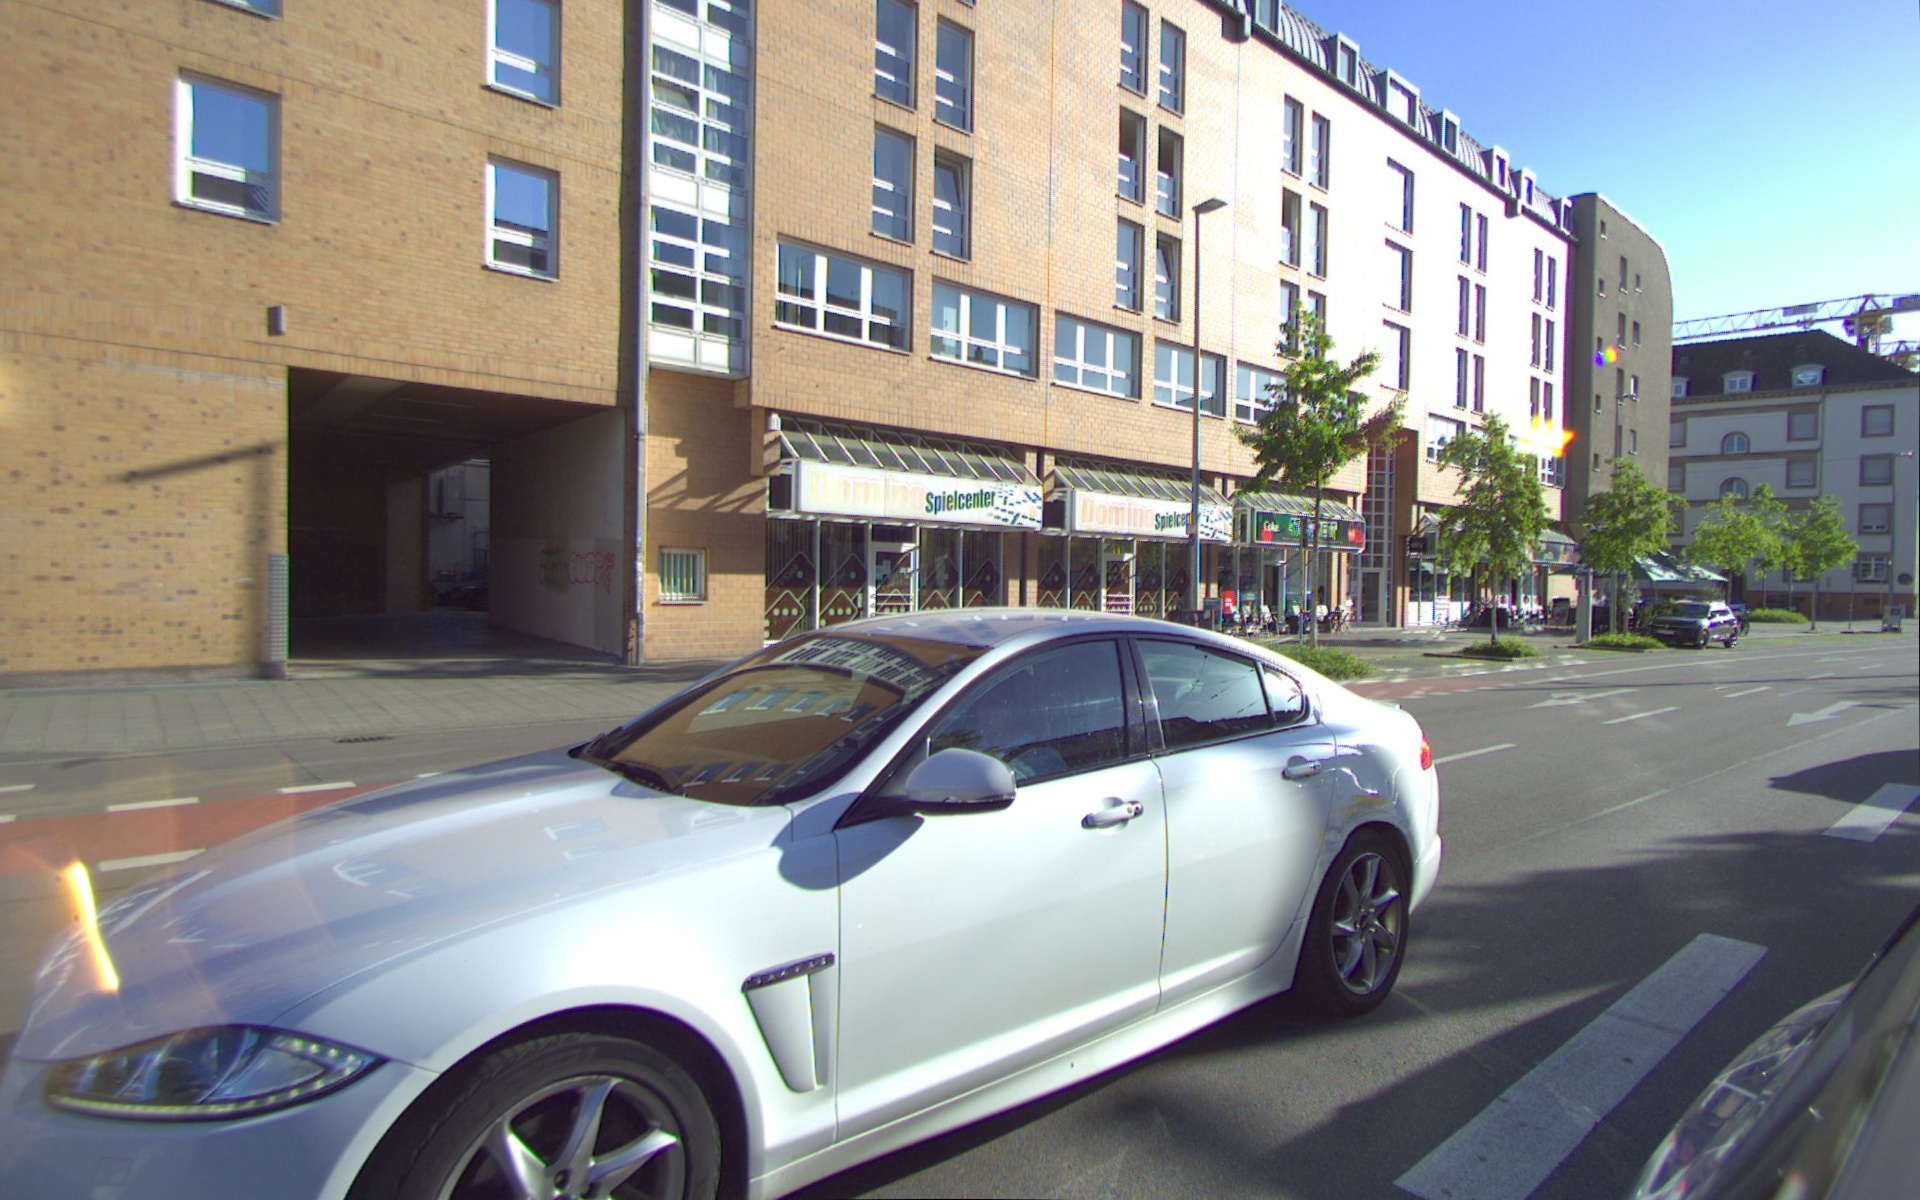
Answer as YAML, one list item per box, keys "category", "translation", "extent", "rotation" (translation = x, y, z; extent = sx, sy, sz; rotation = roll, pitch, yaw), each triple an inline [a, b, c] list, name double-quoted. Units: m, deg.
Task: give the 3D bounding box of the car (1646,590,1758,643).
- category: "car"
  translation: [25.867, 0.553, 35.249]
  extent: [3.921, 1.659, 1.782]
  rotation: [0, 3, -33]

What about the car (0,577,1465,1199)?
- category: "car"
  translation: [-0.209, 0.678, 3.442]
  extent: [4.373, 1.448, 1.807]
  rotation: [0, 1, -39]

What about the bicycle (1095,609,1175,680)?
- category: "bicycle"
  translation: [3.063, 0.759, 17.871]
  extent: [0.343, 1.069, 1.843]
  rotation: [0, 3, -26]

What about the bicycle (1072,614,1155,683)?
- category: "bicycle"
  translation: [2.645, 0.812, 17.656]
  extent: [0.440, 0.997, 1.843]
  rotation: [0, 3, -26]

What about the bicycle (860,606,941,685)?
- category: "bicycle"
  translation: [-0.975, 0.694, 16.206]
  extent: [0.423, 1.089, 1.776]
  rotation: [-1, 4, -35]

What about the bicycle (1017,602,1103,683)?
- category: "bicycle"
  translation: [1.666, 0.687, 17.180]
  extent: [0.553, 1.177, 1.843]
  rotation: [0, 3, -26]

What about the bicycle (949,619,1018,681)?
- category: "bicycle"
  translation: [0.364, 0.812, 16.962]
  extent: [0.359, 0.842, 1.779]
  rotation: [0, 3, -26]
